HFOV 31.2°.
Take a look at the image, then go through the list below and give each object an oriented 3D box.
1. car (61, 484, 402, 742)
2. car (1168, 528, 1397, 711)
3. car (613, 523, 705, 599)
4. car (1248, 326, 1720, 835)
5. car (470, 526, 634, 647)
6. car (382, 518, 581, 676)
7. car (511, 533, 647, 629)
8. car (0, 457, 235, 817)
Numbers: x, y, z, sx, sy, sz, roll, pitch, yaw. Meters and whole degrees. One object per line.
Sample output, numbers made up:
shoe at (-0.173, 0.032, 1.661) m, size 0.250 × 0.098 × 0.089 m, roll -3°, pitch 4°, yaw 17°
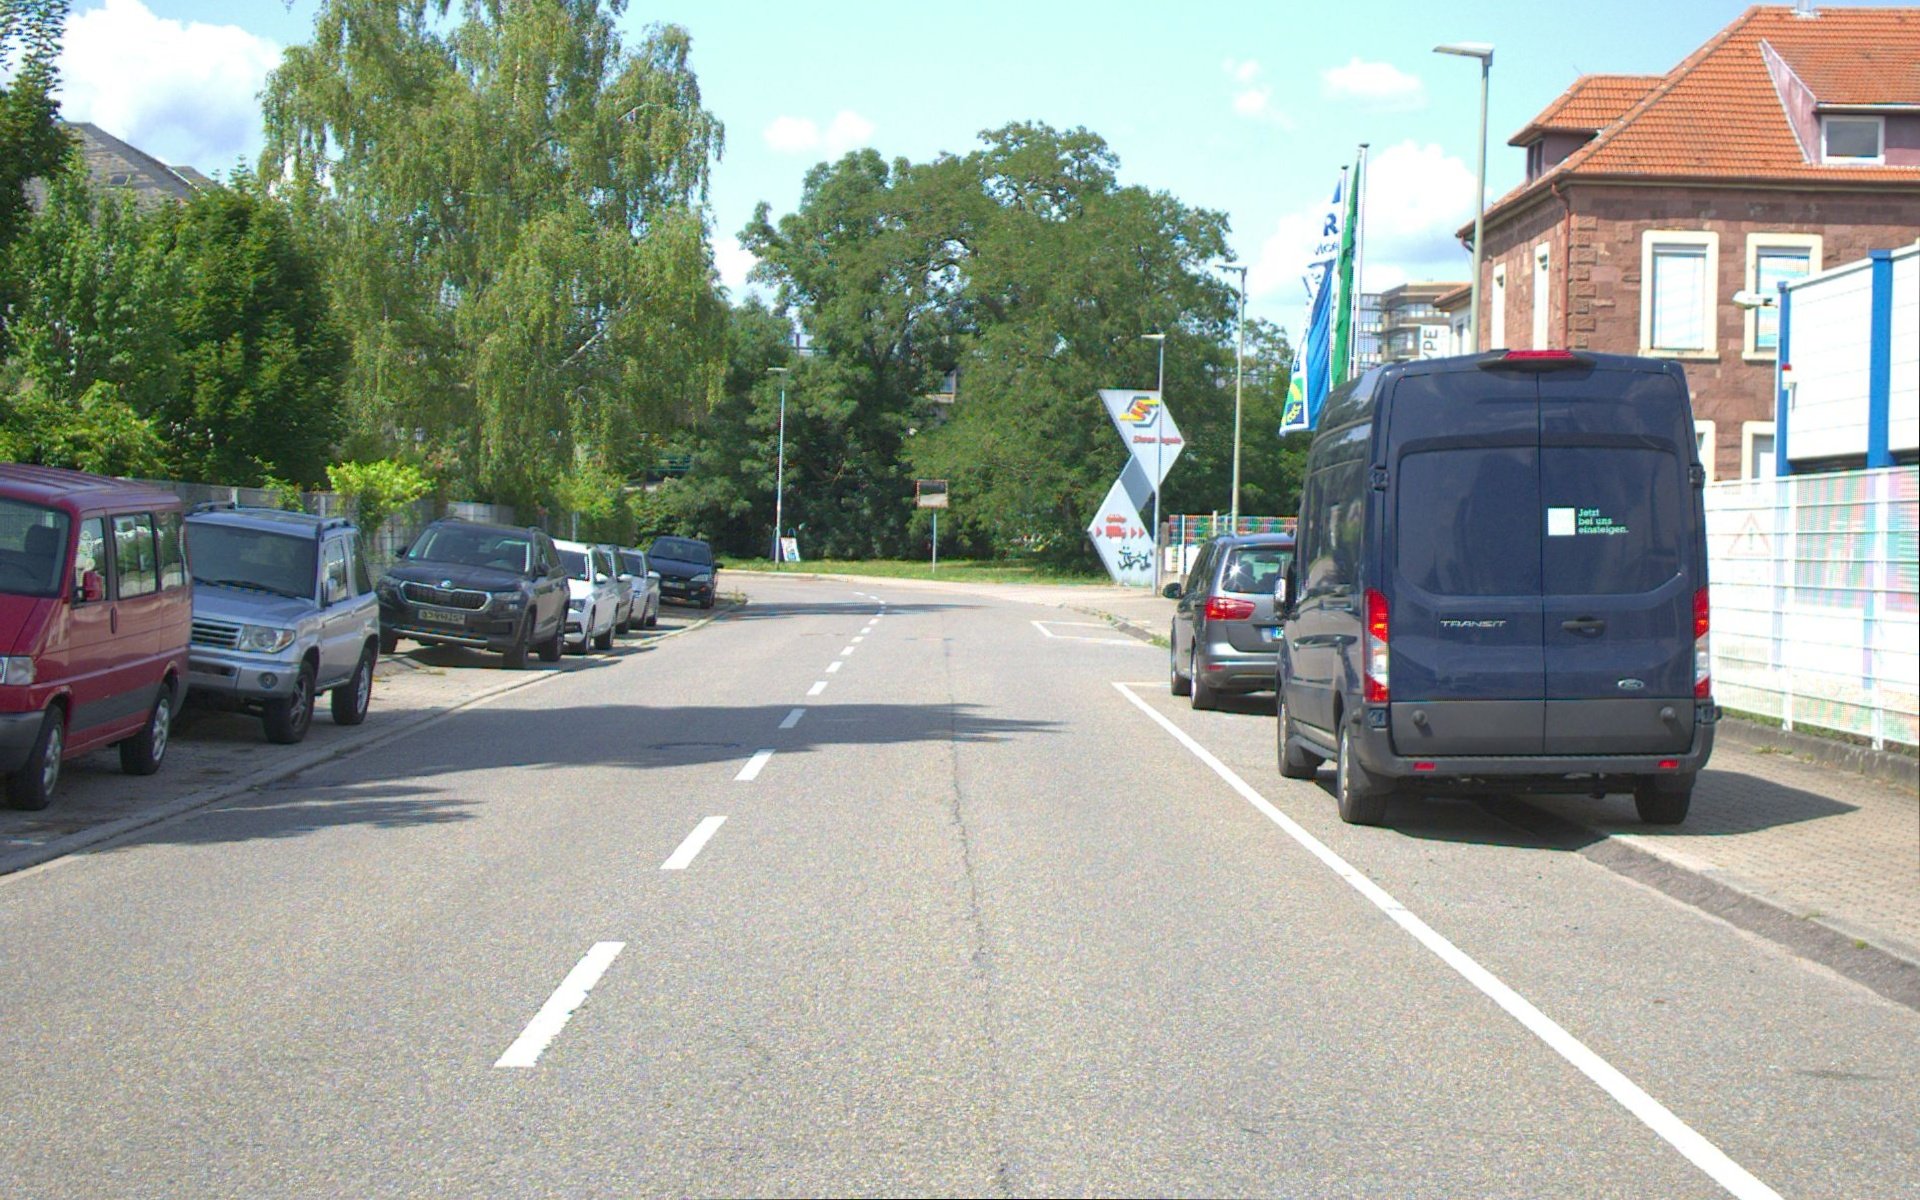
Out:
car at (-5.763, 0.056, 27.632) m, size 1.700 × 1.795 × 3.826 m, roll 5°, pitch 1°, yaw 2°
car at (3.111, 0.133, 33.984) m, size 1.825 × 1.659 × 4.556 m, roll 1°, pitch 1°, yaw 0°
car at (-6.711, -0.871, 76.962) m, size 1.682 × 1.507 × 4.158 m, roll 5°, pitch 1°, yaw -1°
car at (3.112, -0.164, 21.807) m, size 1.937 × 2.739 × 6.155 m, roll 1°, pitch 1°, yaw -1°
car at (-5.717, -0.229, 48.631) m, size 1.700 × 1.589 × 4.787 m, roll 1°, pitch 1°, yaw 0°
car at (-5.788, -0.087, 42.059) m, size 1.610 × 1.739 × 4.636 m, roll 3°, pitch 1°, yaw 1°
car at (-6.376, -0.352, 57.974) m, size 1.794 × 1.522 × 4.659 m, roll 1°, pitch 1°, yaw 0°
car at (-6.090, 0.086, 21.515) m, size 1.898 × 1.948 × 4.958 m, roll 6°, pitch 1°, yaw -1°
